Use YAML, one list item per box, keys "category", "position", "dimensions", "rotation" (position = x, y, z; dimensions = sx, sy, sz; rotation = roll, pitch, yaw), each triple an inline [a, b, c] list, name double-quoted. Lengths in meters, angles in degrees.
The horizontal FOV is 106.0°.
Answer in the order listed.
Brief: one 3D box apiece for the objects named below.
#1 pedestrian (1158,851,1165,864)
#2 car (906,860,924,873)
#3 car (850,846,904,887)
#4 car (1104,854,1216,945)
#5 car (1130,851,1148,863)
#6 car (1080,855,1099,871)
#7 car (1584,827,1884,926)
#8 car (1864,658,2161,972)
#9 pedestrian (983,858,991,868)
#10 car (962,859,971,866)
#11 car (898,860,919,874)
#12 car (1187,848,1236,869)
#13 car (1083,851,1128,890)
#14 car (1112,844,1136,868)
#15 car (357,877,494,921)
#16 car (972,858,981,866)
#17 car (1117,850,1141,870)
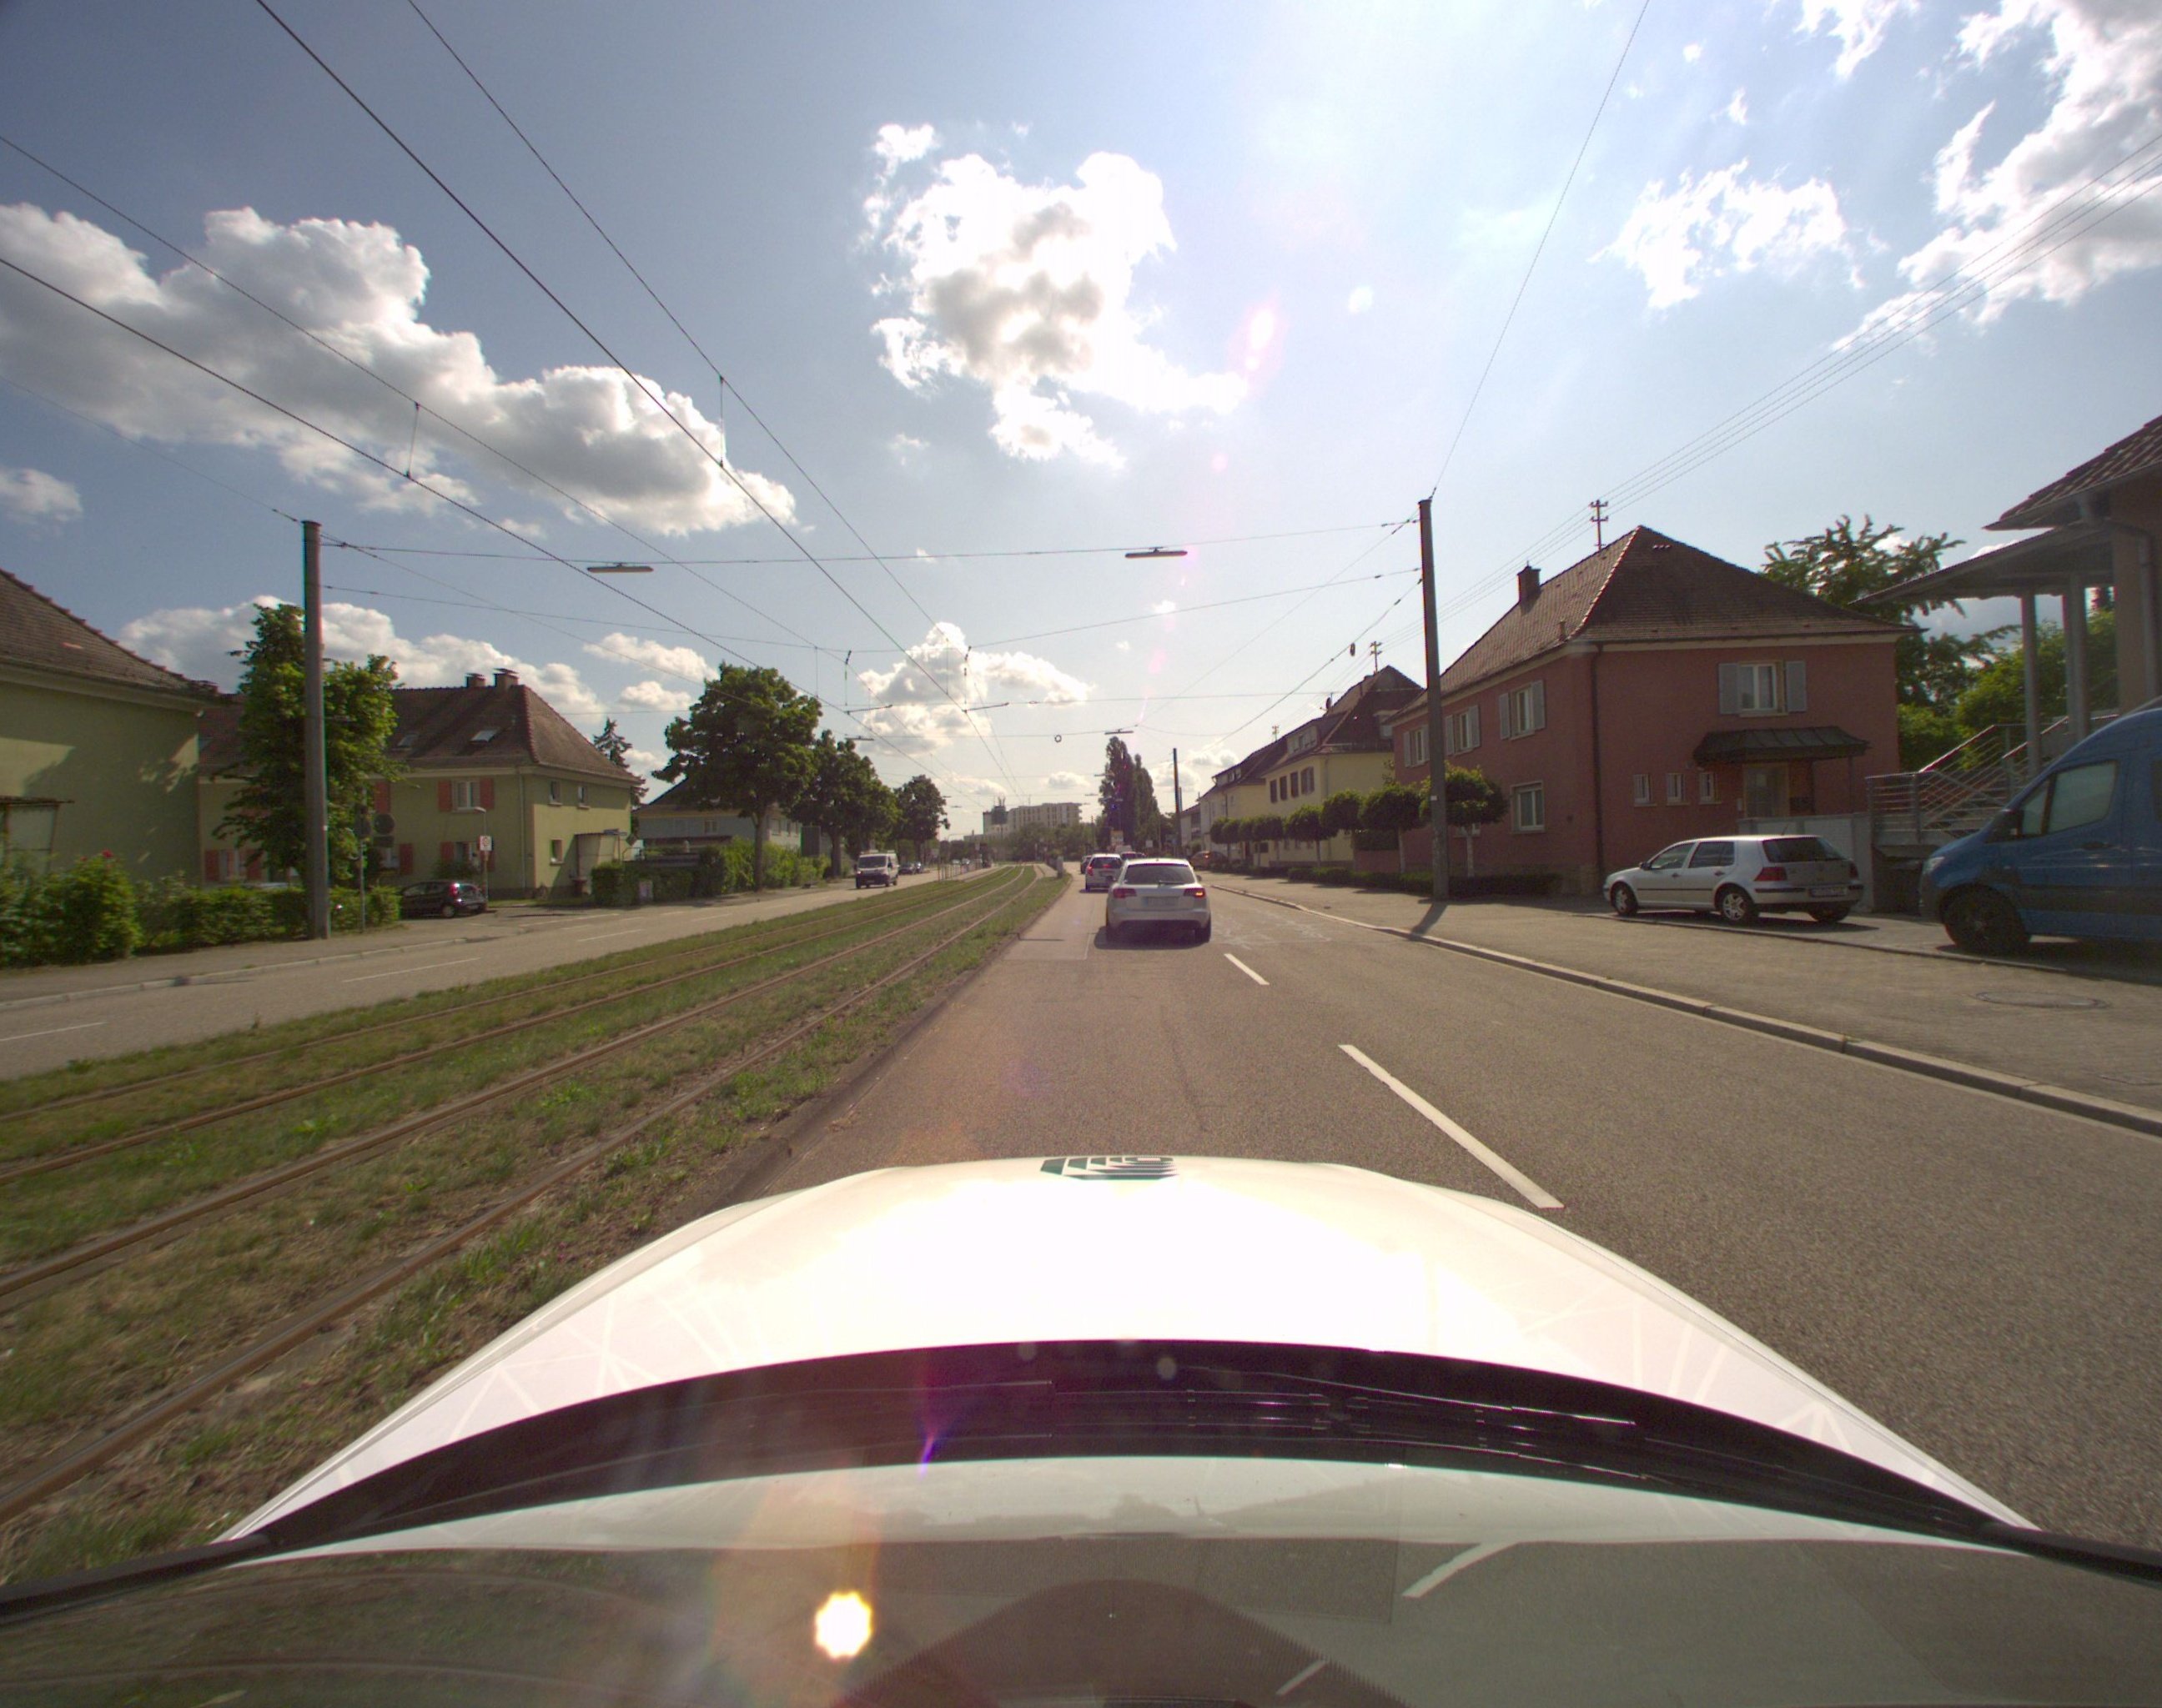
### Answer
- category: "pedestrian"
  position: [11.402, 0.455, 115.480]
  dimensions: [0.719, 1.782, 0.702]
  rotation: [-4, 0, -1]
- category: "car"
  position: [-21.652, 1.596, 106.195]
  dimensions: [2.060, 1.614, 4.738]
  rotation: [-2, 0, -9]
- category: "car"
  position: [-13.151, 0.801, 52.890]
  dimensions: [2.191, 2.372, 5.328]
  rotation: [-3, 0, -2]
- category: "car"
  position: [1.474, 0.770, 15.920]
  dimensions: [1.846, 1.492, 4.540]
  rotation: [-1, 0, 4]
- category: "car"
  position: [8.026, 0.445, 112.521]
  dimensions: [1.881, 1.637, 4.088]
  rotation: [0, -1, -4]
- category: "car"
  position: [0.852, 0.879, 81.650]
  dimensions: [1.879, 1.530, 4.093]
  rotation: [0, -1, 0]
- category: "car"
  position: [11.100, 0.358, 14.333]
  dimensions: [1.645, 1.409, 4.346]
  rotation: [-2, -1, -3]
- category: "car"
  position: [11.153, -0.373, 7.436]
  dimensions: [2.143, 2.930, 6.247]
  rotation: [0, -1, 2]
- category: "pedestrian"
  position: [-13.489, 1.292, 116.682]
  dimensions: [1.056, 1.376, 0.859]
  rotation: [0, -1, -4]
- category: "car"
  position: [-25.629, 1.875, 182.156]
  dimensions: [1.861, 1.651, 3.989]
  rotation: [0, -1, -8]
- category: "car"
  position: [-21.188, 1.586, 99.986]
  dimensions: [1.781, 1.584, 3.928]
  rotation: [-2, 0, -2]
- category: "car"
  position: [10.771, 0.360, 67.045]
  dimensions: [4.117, 1.458, 1.892]
  rotation: [-4, 2, -44]
- category: "car"
  position: [0.999, 0.665, 35.044]
  dimensions: [1.781, 1.577, 4.093]
  rotation: [0, 0, 0]
- category: "car"
  position: [4.817, 0.232, 92.104]
  dimensions: [2.037, 2.557, 5.224]
  rotation: [-2, 0, -4]
- category: "car"
  position: [-25.723, 1.753, 32.045]
  dimensions: [3.732, 1.468, 1.892]
  rotation: [-2, 0, -3]
- category: "car"
  position: [-22.839, 1.737, 177.603]
  dimensions: [1.895, 1.541, 3.720]
  rotation: [0, -1, -7]
- category: "car"
  position: [4.341, 0.508, 73.322]
  dimensions: [1.875, 1.731, 4.101]
  rotation: [-2, 0, 6]
